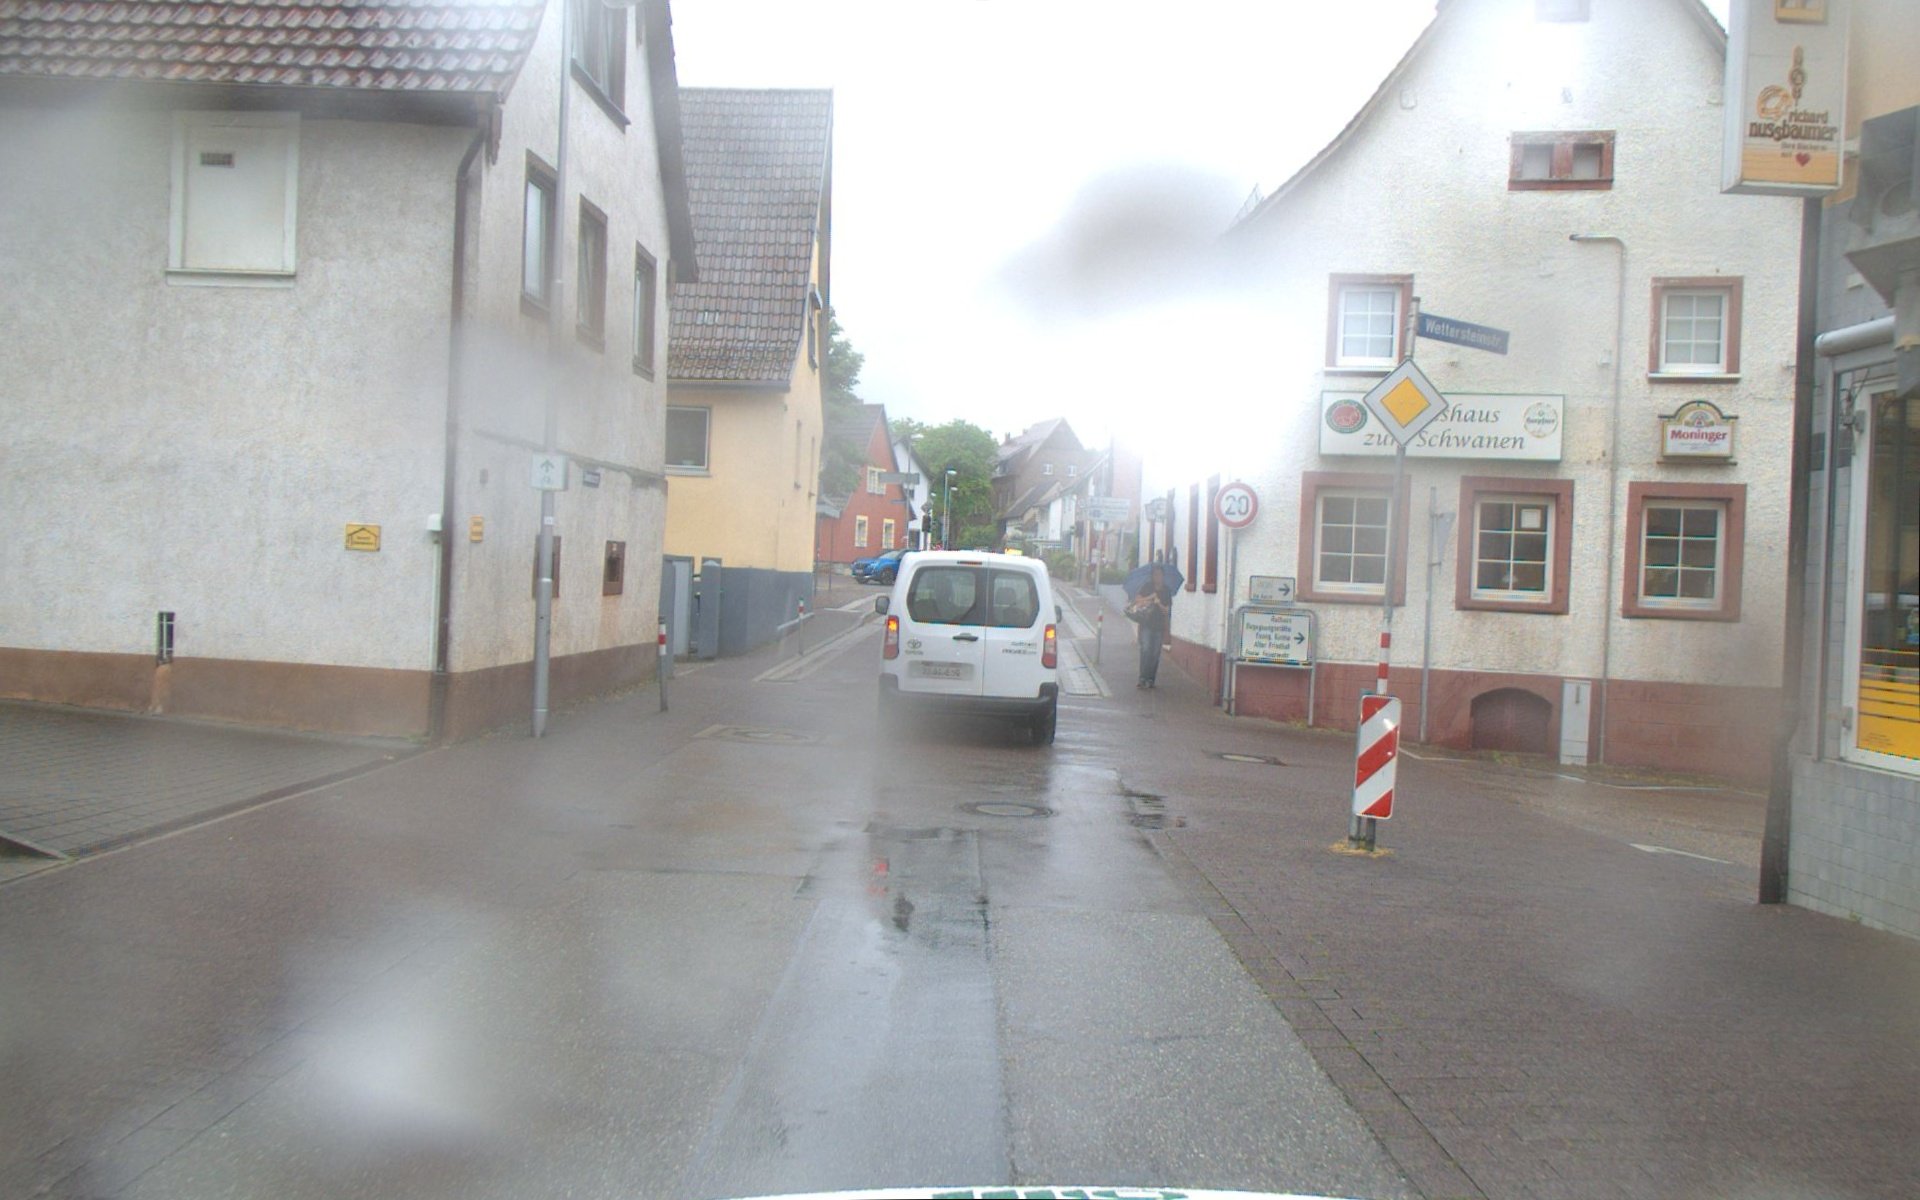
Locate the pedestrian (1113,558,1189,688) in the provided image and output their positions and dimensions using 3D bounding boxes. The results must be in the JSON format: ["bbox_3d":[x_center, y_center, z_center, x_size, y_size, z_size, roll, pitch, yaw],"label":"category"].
[{"bbox_3d":[2.707,0.312,23.545,0.973,1.765,0.812,3,3,5],"label":"pedestrian"}]

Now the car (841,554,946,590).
[{"bbox_3d":[-2.796,-1.175,69.991,3.955,1.397,2.085,1,0,-36],"label":"car"}]

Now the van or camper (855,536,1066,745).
[{"bbox_3d":[0.051,0.359,17.348,1.903,1.883,4.001,2,0,1],"label":"van or camper"}]

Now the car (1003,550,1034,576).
[{"bbox_3d":[4.134,-2.601,116.953,1.953,1.777,4.000,2,1,-1],"label":"car"}]

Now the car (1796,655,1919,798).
[{"bbox_3d":[11.561,1.476,18.150,3.866,1.397,1.664,4,1,9],"label":"car"}]

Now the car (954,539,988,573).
[{"bbox_3d":[0.605,-2.479,92.295,1.775,1.809,4.018,2,2,0],"label":"car"}]

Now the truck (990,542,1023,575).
[{"bbox_3d":[3.652,-3.230,130.692,2.303,2.468,4.948,2,1,-2],"label":"truck"}]
